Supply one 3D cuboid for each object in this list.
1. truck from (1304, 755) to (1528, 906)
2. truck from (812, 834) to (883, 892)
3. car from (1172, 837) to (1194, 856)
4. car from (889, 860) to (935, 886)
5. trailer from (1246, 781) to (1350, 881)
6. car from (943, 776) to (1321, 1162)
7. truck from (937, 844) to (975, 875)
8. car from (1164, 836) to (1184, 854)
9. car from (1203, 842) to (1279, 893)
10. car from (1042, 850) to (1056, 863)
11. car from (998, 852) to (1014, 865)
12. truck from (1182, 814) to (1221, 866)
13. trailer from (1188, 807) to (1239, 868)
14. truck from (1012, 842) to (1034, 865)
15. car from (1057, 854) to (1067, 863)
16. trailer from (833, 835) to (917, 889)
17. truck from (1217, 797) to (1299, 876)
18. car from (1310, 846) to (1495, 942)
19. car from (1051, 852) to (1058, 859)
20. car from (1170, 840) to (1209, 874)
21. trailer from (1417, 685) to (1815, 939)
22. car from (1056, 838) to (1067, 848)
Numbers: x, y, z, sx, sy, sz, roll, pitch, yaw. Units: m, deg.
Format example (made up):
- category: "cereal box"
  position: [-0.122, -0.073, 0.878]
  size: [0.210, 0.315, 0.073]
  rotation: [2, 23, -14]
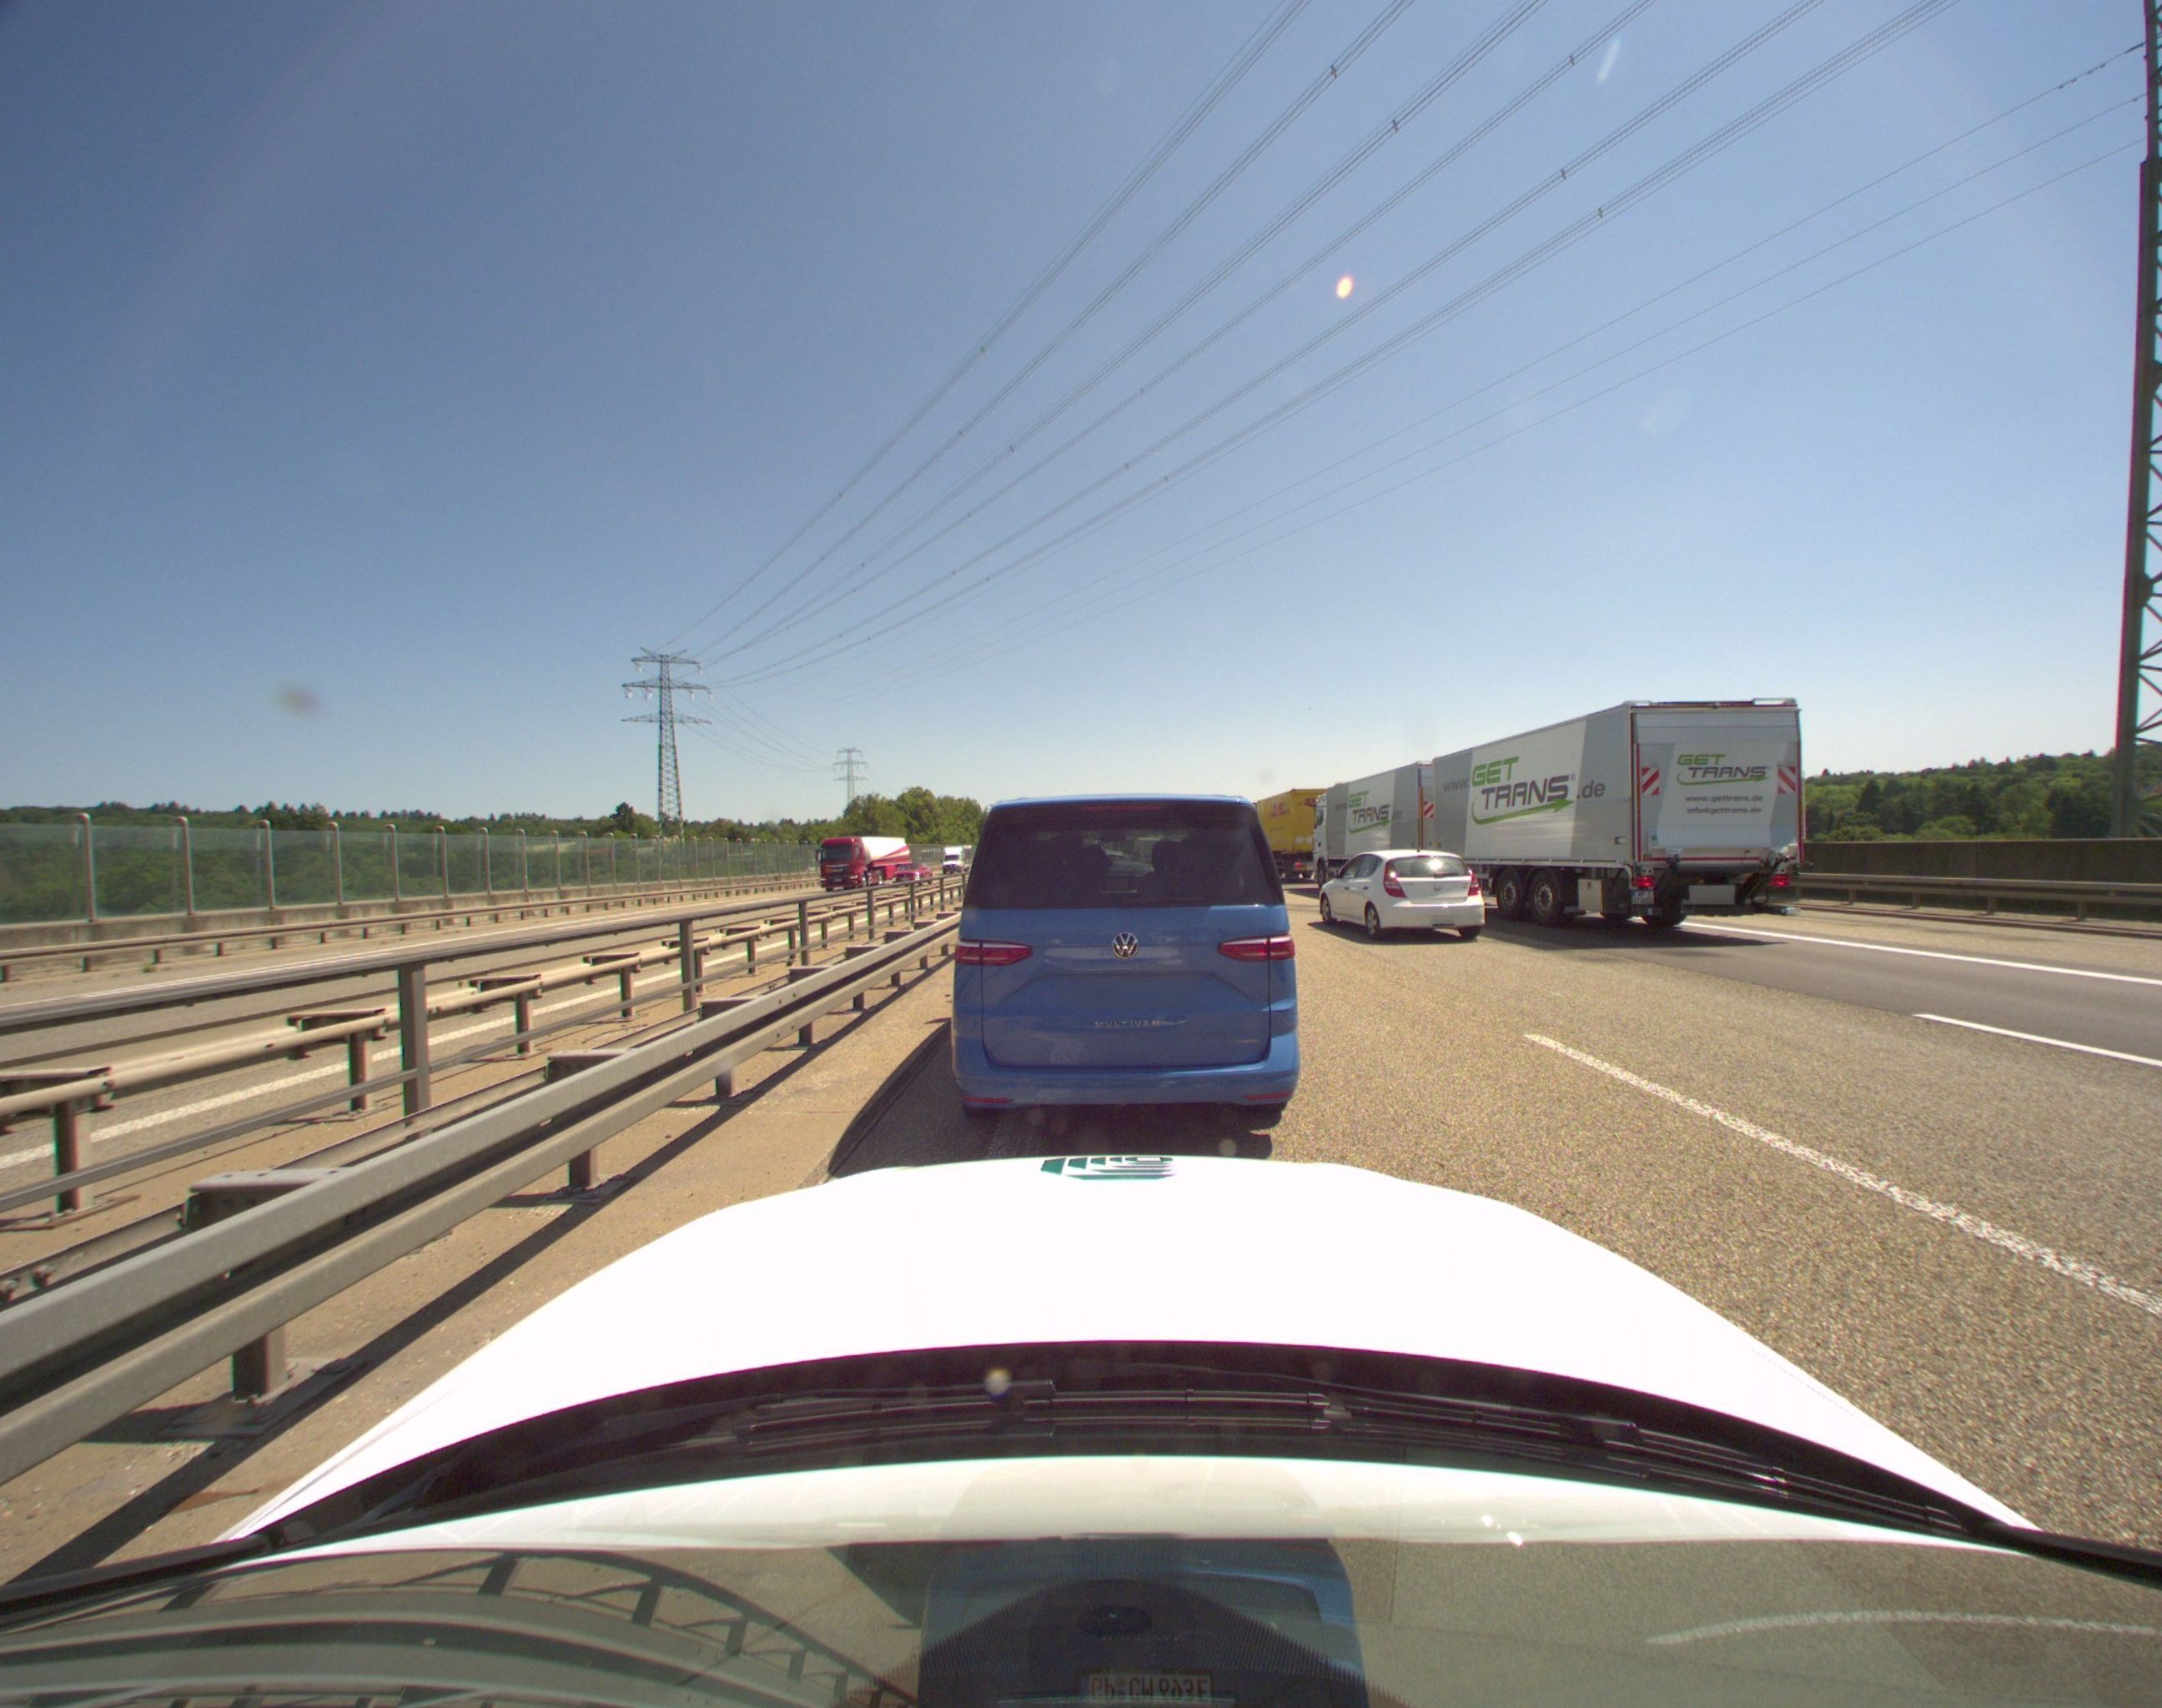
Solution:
- category: "truck"
  position: [9.767, -0.601, 25.580]
  size: [2.647, 3.648, 11.013]
  rotation: [-1, 0, 1]
- category: "truck"
  position: [-14.756, 0.538, 51.995]
  size: [2.488, 3.365, 5.836]
  rotation: [-4, 0, 2]
- category: "car"
  position: [10.980, -0.793, 87.657]
  size: [1.986, 2.014, 4.002]
  rotation: [-1, 0, 2]
- category: "car"
  position: [-10.550, 1.166, 51.153]
  size: [1.856, 1.444, 4.132]
  rotation: [-4, 0, 2]
- category: "trailer"
  position: [10.177, -0.968, 39.292]
  size: [2.854, 4.239, 9.015]
  rotation: [-1, 0, 2]
- category: "car"
  position: [0.313, 0.563, 5.979]
  size: [1.813, 1.857, 4.076]
  rotation: [-1, 0, 2]
- category: "truck"
  position: [-13.863, 0.588, 90.909]
  size: [2.510, 3.110, 8.724]
  rotation: [-5, 0, 1]
- category: "car"
  position: [11.124, -1.082, 98.075]
  size: [1.986, 2.013, 4.463]
  rotation: [-2, 0, 2]
- category: "car"
  position: [5.585, 0.439, 28.914]
  size: [1.955, 1.644, 4.295]
  rotation: [-1, 0, 2]
- category: "car"
  position: [-4.968, 0.447, 127.900]
  size: [1.894, 2.014, 4.002]
  rotation: [-1, 0, 2]
- category: "car"
  position: [-13.341, 0.746, 144.743]
  size: [2.074, 2.149, 4.314]
  rotation: [-3, 0, 2]
- category: "truck"
  position: [10.884, -1.211, 74.095]
  size: [2.657, 4.484, 6.853]
  rotation: [-1, 0, 2]
- category: "trailer"
  position: [10.640, -1.226, 66.475]
  size: [2.627, 4.516, 11.305]
  rotation: [-1, 0, 2]
- category: "truck"
  position: [-9.192, -0.041, 129.524]
  size: [2.553, 3.359, 8.863]
  rotation: [-3, 0, 0]
- category: "car"
  position: [-4.202, 0.953, 182.258]
  size: [1.986, 2.014, 4.314]
  rotation: [-1, 0, 2]
- category: "trailer"
  position: [-14.552, 0.513, 58.698]
  size: [2.472, 3.344, 12.077]
  rotation: [-4, 0, 2]
- category: "truck"
  position: [10.446, -0.943, 49.318]
  size: [2.826, 4.243, 11.013]
  rotation: [-1, 0, 1]
- category: "car"
  position: [5.614, 0.618, 14.849]
  size: [1.782, 1.455, 4.295]
  rotation: [-1, 0, 2]
- category: "car"
  position: [-7.697, 0.363, 237.573]
  size: [1.986, 2.014, 4.002]
  rotation: [-1, 0, 2]
- category: "car"
  position: [6.705, 0.177, 50.766]
  size: [1.955, 1.993, 4.295]
  rotation: [-1, 0, 2]
- category: "trailer"
  position: [9.569, -0.633, 16.072]
  size: [2.688, 3.700, 8.017]
  rotation: [-1, 0, 1]
- category: "car"
  position: [-4.060, -2.216, 169.924]
  size: [1.986, 2.014, 4.314]
  rotation: [-1, 0, 2]
